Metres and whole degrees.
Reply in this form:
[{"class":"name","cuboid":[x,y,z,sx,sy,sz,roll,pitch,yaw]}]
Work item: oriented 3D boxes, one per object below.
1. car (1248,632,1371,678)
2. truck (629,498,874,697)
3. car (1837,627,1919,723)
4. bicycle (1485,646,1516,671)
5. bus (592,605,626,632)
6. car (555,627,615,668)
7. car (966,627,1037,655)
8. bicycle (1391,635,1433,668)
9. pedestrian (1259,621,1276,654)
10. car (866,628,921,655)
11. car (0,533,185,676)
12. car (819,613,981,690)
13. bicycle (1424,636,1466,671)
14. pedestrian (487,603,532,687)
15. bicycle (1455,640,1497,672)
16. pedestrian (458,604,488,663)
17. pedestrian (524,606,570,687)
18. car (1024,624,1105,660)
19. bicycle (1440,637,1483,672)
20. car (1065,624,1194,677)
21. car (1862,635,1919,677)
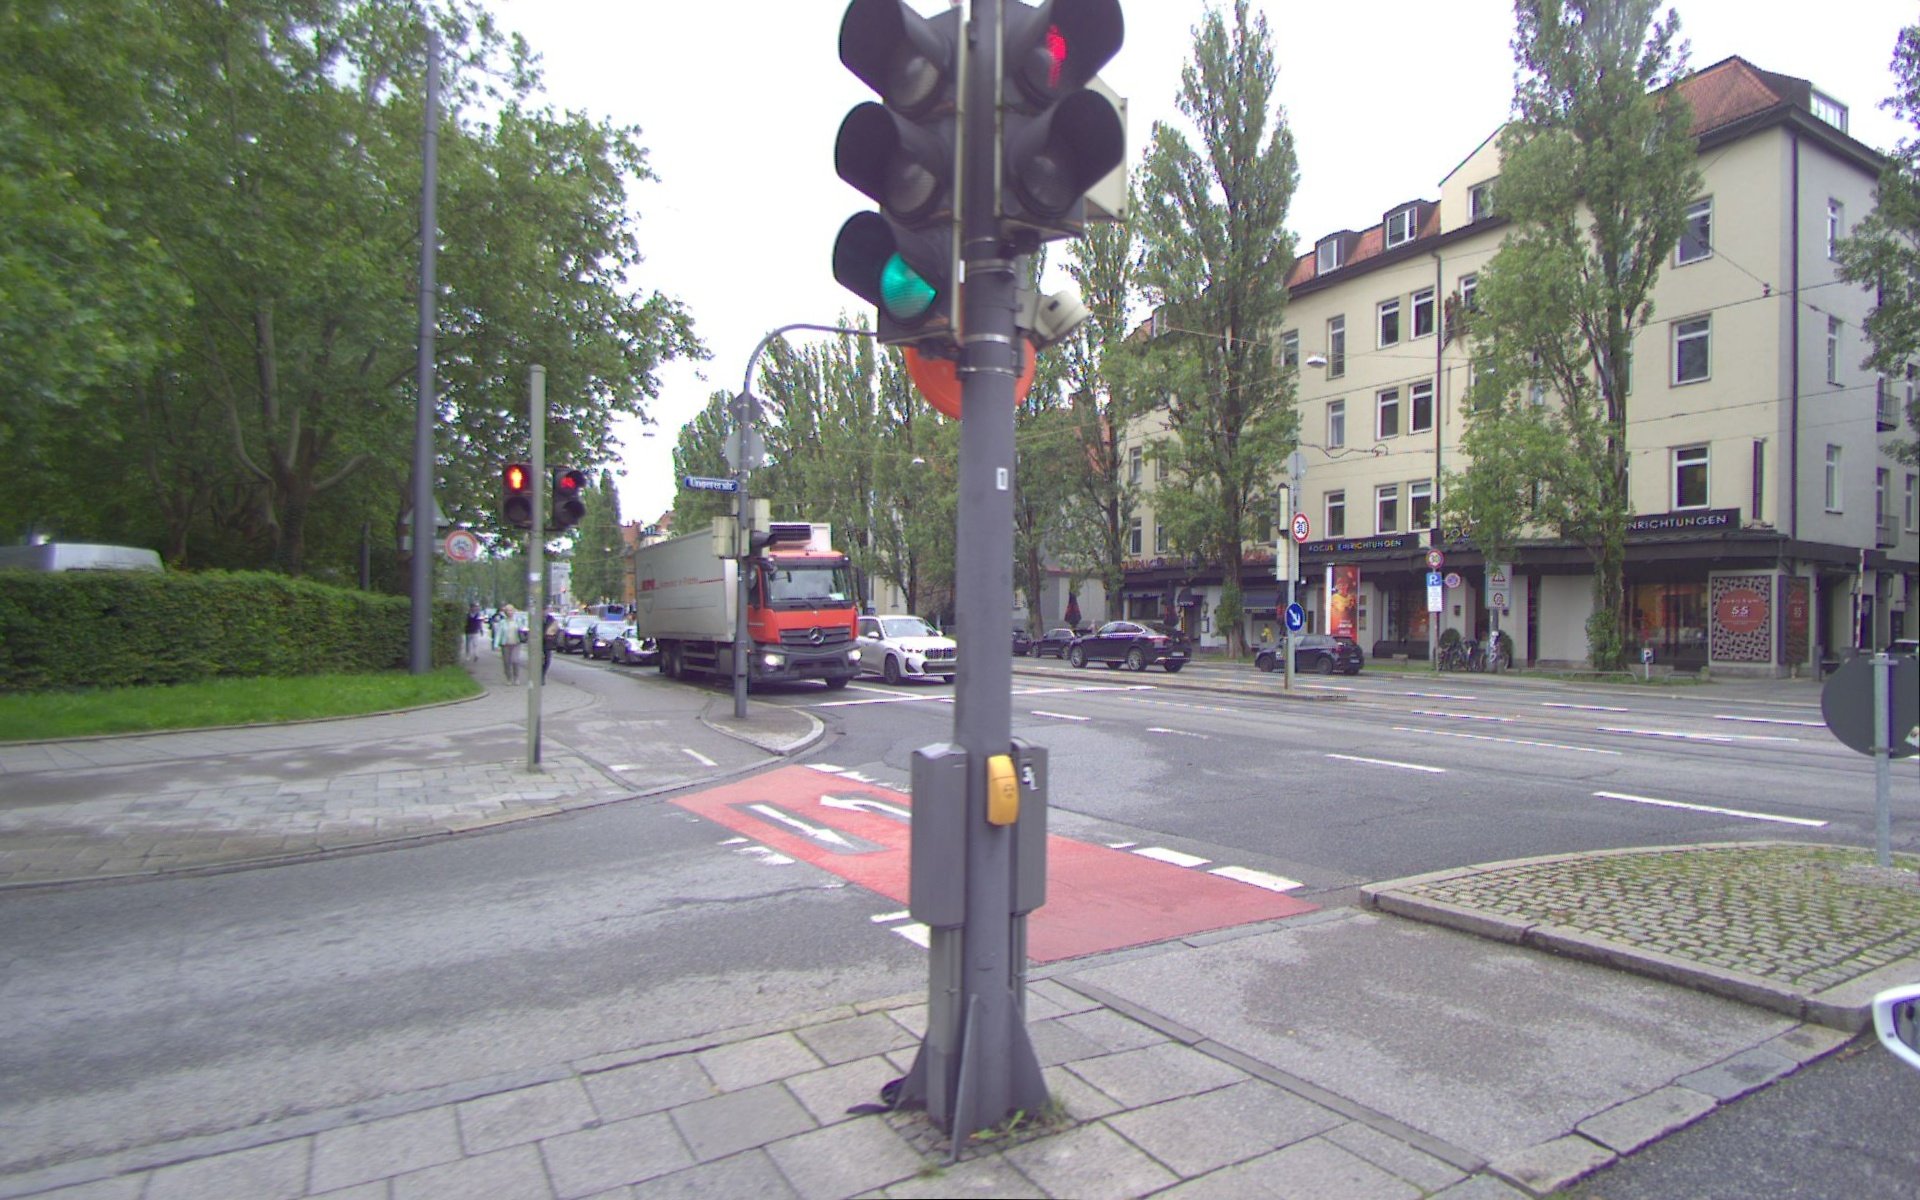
[{"class":"car","cuboid":[12.570,1.960,36.353,1.786,1.485,3.963,2,-2,-33]},{"class":"truck","cuboid":[-5.950,0.047,26.051,2.716,4.033,11.621,0,-1,-30]},{"class":"car","cuboid":[15.886,1.181,15.284,1.751,1.505,4.002,1,-2,3]},{"class":"bicycle","cuboid":[19.548,2.104,36.320,1.357,0.895,0.385,2,-1,-34]},{"class":"bus","cuboid":[-51.657,2.669,147.782,2.881,3.441,10.721,2,0,-29]},{"class":"car","cuboid":[-16.783,2.070,44.861,1.783,1.664,4.961,1,-1,-29]},{"class":"car","cuboid":[2.204,2.175,54.114,1.784,1.417,4.346,1,-2,-30]},{"class":"bicycle","cuboid":[16.910,1.934,37.573,1.869,1.200,0.492,2,-1,-34]},{"class":"pedestrian","cuboid":[15.074,1.858,49.282,0.568,1.583,0.492,2,0,-30]},{"class":"car","cuboid":[-4.397,2.667,65.606,1.784,1.633,4.510,1,-1,-30]},{"class":"car","cuboid":[-15.659,0.196,16.542,4.535,2.040,2.001,-4,-1,11]},{"class":"car","cuboid":[-1.609,1.199,24.954,1.901,1.705,4.847,2,-2,-33]},{"class":"bicycle","cuboid":[17.570,1.931,36.395,1.869,1.200,0.492,2,-1,-34]},{"class":"pedestrian","cuboid":[-9.284,0.918,20.705,0.681,1.685,0.548,2,-1,-43]},{"class":"bicycle","cuboid":[18.151,1.959,35.321,1.869,1.096,0.492,2,-1,-34]},{"class":"pedestrian","cuboid":[-15.537,1.070,32.051,0.681,1.834,0.653,2,-1,-43]},{"class":"pedestrian","cuboid":[-8.735,0.973,21.245,0.681,1.685,0.653,2,-1,-43]},{"class":"car","cuboid":[5.047,2.019,49.024,1.784,1.633,4.270,1,-1,-30]},{"class":"bicycle","cuboid":[17.849,1.940,35.749,1.869,1.200,0.492,2,-1,-34]},{"class":"car","cuboid":[5.463,1.594,32.953,1.721,1.569,4.541,1,-1,-29]},{"class":"car","cuboid":[35.059,2.054,37.083,3.959,1.461,1.715,2,-2,-34]}]
